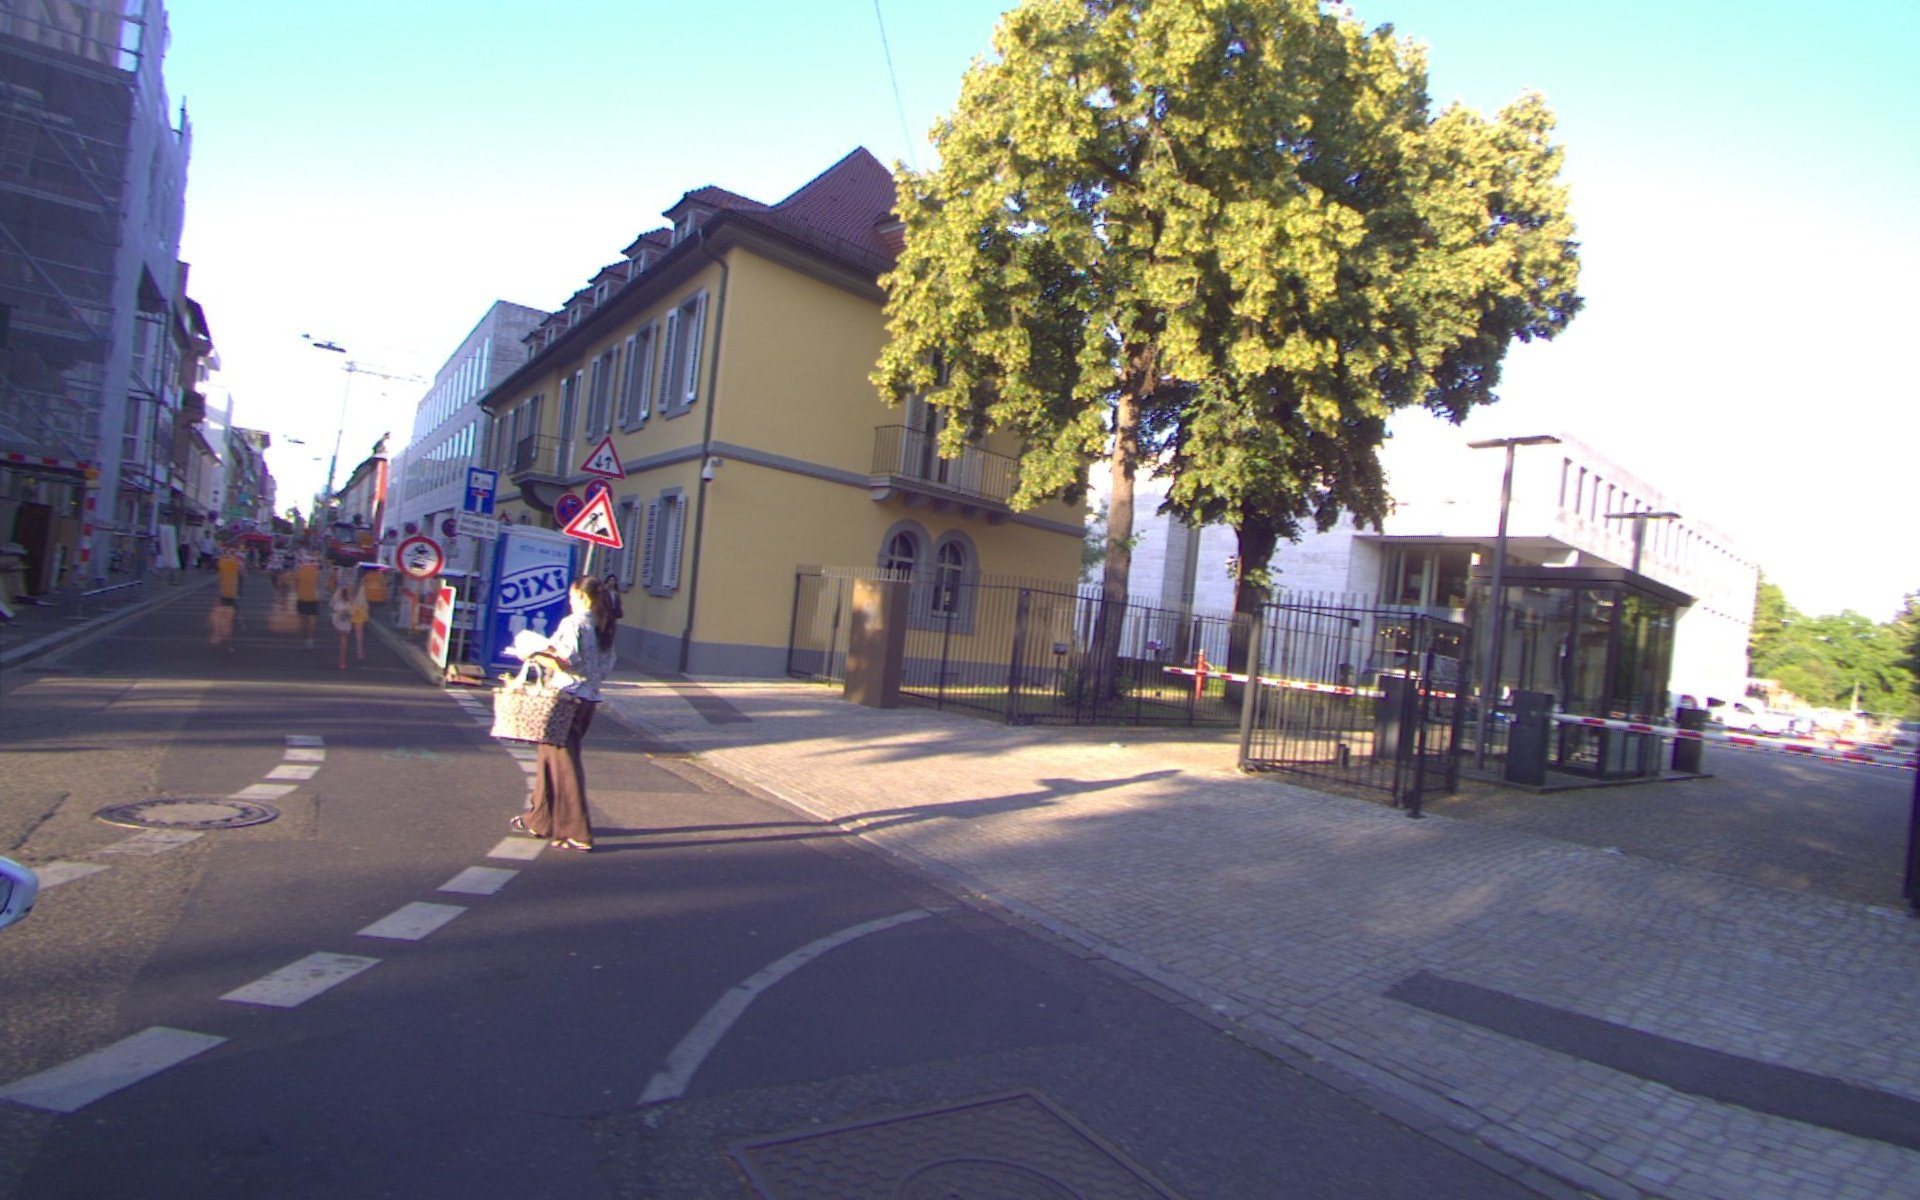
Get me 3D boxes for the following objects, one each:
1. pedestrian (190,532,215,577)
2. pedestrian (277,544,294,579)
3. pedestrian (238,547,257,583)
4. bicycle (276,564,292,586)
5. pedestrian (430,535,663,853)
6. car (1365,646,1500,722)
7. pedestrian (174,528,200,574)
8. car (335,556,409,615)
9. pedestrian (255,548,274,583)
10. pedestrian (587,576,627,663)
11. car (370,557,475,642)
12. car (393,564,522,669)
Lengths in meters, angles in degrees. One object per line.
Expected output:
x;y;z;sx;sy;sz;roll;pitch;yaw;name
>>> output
-32.039;-1.923;42.571;0.503;1.786;0.506;6;0;14;pedestrian
-29.846;-1.695;44.533;0.501;1.479;0.508;6;0;-32;pedestrian
-29.779;-1.465;42.038;0.501;1.479;0.508;6;0;-34;pedestrian
-29.935;-1.129;44.565;0.501;0.894;1.463;6;-1;-34;bicycle
-2.409;0.531;5.940;0.942;1.679;0.640;6;0;3;pedestrian
13.336;2.375;28.305;4.031;1.758;1.691;6;1;-39;car
-31.226;-1.962;40.624;0.673;1.753;0.693;7;-1;-38;pedestrian
-18.433;-0.480;31.479;1.707;1.538;3.192;6;-1;-34;car
-30.514;-1.520;44.150;0.500;1.479;0.509;6;0;-28;pedestrian
-6.887;0.369;19.616;0.464;1.614;0.667;6;0;-32;pedestrian
-11.839;-0.066;22.039;1.530;1.538;3.943;6;-1;-34;car
-9.074;0.249;18.046;1.531;1.537;3.193;8;-2;-34;car
